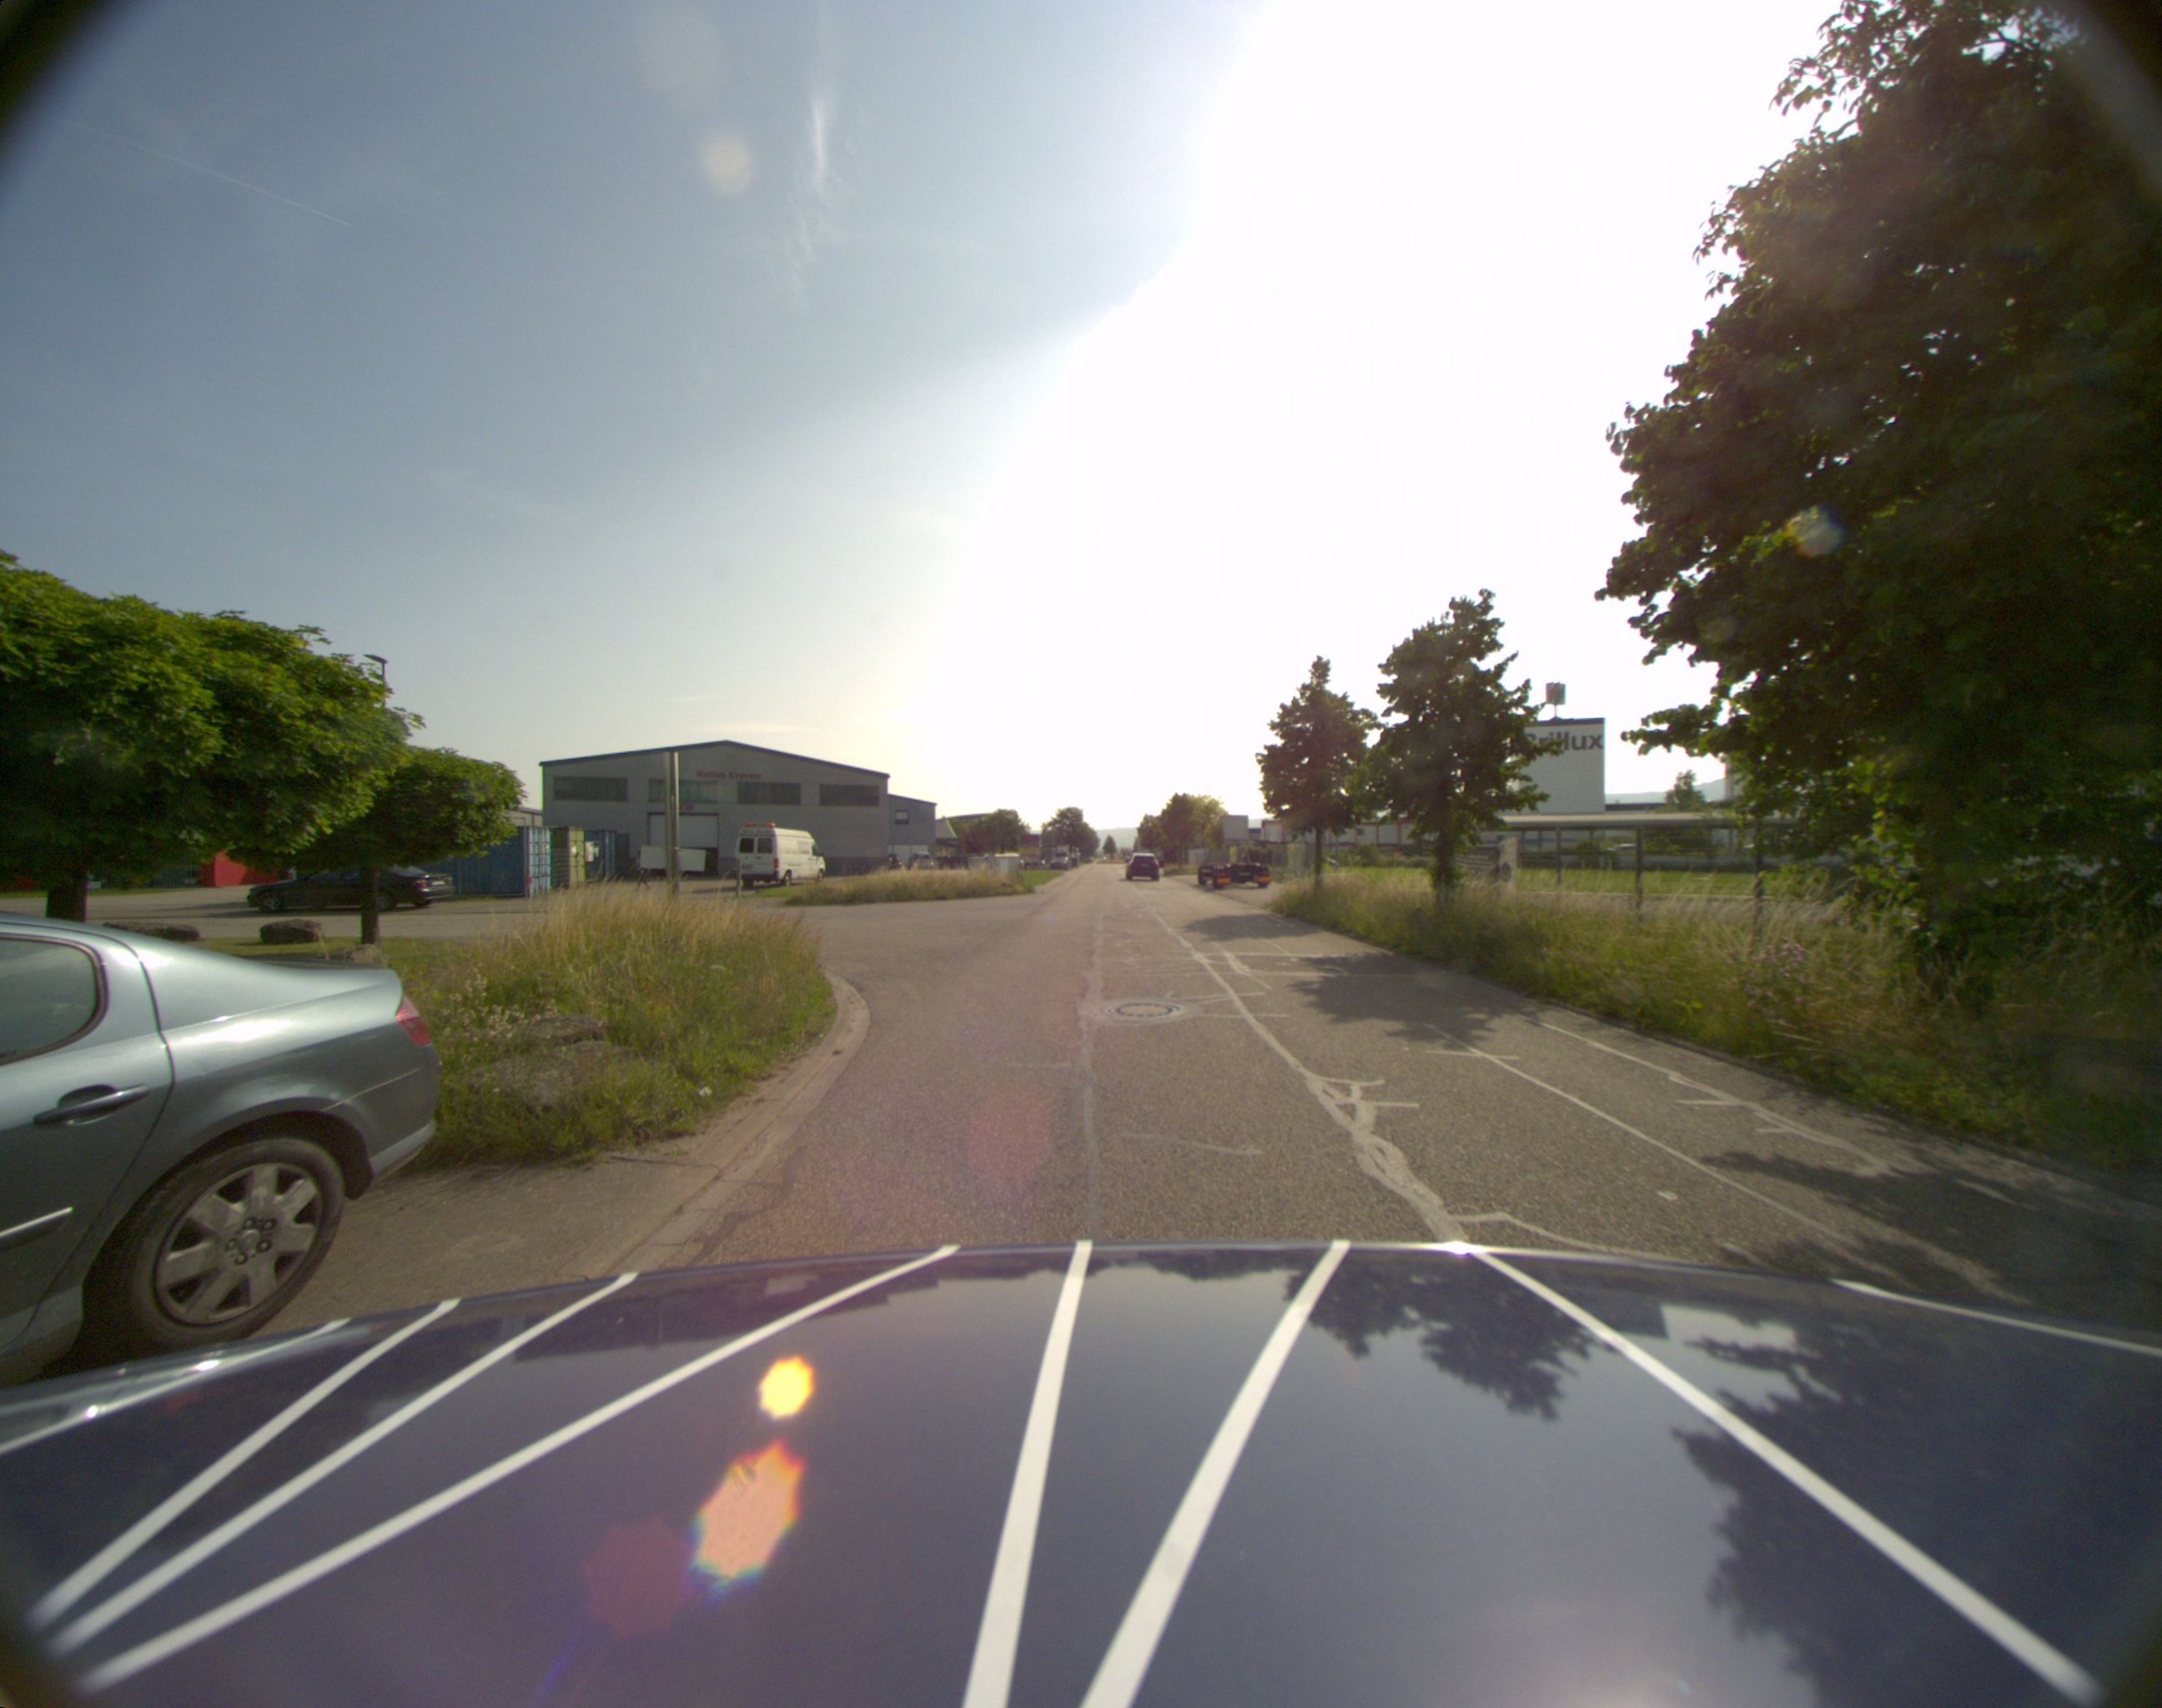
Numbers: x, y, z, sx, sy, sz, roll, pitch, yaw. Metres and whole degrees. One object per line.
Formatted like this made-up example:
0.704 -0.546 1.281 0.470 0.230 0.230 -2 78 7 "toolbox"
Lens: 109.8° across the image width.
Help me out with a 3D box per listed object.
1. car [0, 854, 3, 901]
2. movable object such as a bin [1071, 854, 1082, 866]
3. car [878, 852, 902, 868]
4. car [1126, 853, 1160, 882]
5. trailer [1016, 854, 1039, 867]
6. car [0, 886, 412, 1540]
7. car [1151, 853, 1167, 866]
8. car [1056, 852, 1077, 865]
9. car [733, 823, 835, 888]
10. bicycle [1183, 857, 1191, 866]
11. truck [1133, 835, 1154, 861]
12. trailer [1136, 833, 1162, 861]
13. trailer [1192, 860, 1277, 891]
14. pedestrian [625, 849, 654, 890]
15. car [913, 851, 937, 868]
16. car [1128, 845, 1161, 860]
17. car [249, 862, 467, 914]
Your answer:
-37.757 0.831 24.096 1.788 1.623 4.459 0 0 -18 "car"
-0.480 0.646 85.533 1.083 1.345 1.506 2 1 5 "movable object such as a bin"
-16.875 0.518 67.098 1.683 1.394 3.705 0 0 -19 "car"
3.804 0.800 47.174 1.860 1.705 4.226 1 0 1 "car"
-5.395 0.663 76.430 1.496 1.241 2.972 -2 0 -22 "trailer"
-3.518 0.888 0.716 1.798 1.508 4.424 0 0 1 "car"
9.223 0.594 90.016 1.691 1.461 4.094 0 0 3 "car"
-1.502 0.476 79.973 1.677 1.361 4.395 0 0 7 "car"
-13.247 0.050 34.381 1.978 2.690 5.882 0 0 3 "car"
12.453 0.849 89.342 0.563 0.967 2.452 0 0 1 "bicycle"
9.746 -0.989 119.558 2.719 3.862 9.636 -2 0 2 "truck"
9.736 -0.984 109.891 2.707 3.862 9.763 -2 0 -1 "trailer"
7.435 0.973 38.087 2.589 1.177 9.363 -2 0 2 "trailer"
-17.700 0.611 30.480 0.704 1.630 0.749 0 1 5 "pedestrian"
-14.094 0.476 68.587 1.641 1.559 3.799 0 0 -19 "car"
11.168 -0.325 132.562 2.274 2.524 6.759 -1 0 38 "car"
-21.518 0.969 22.796 4.473 1.401 1.809 0 1 -9 "car"
